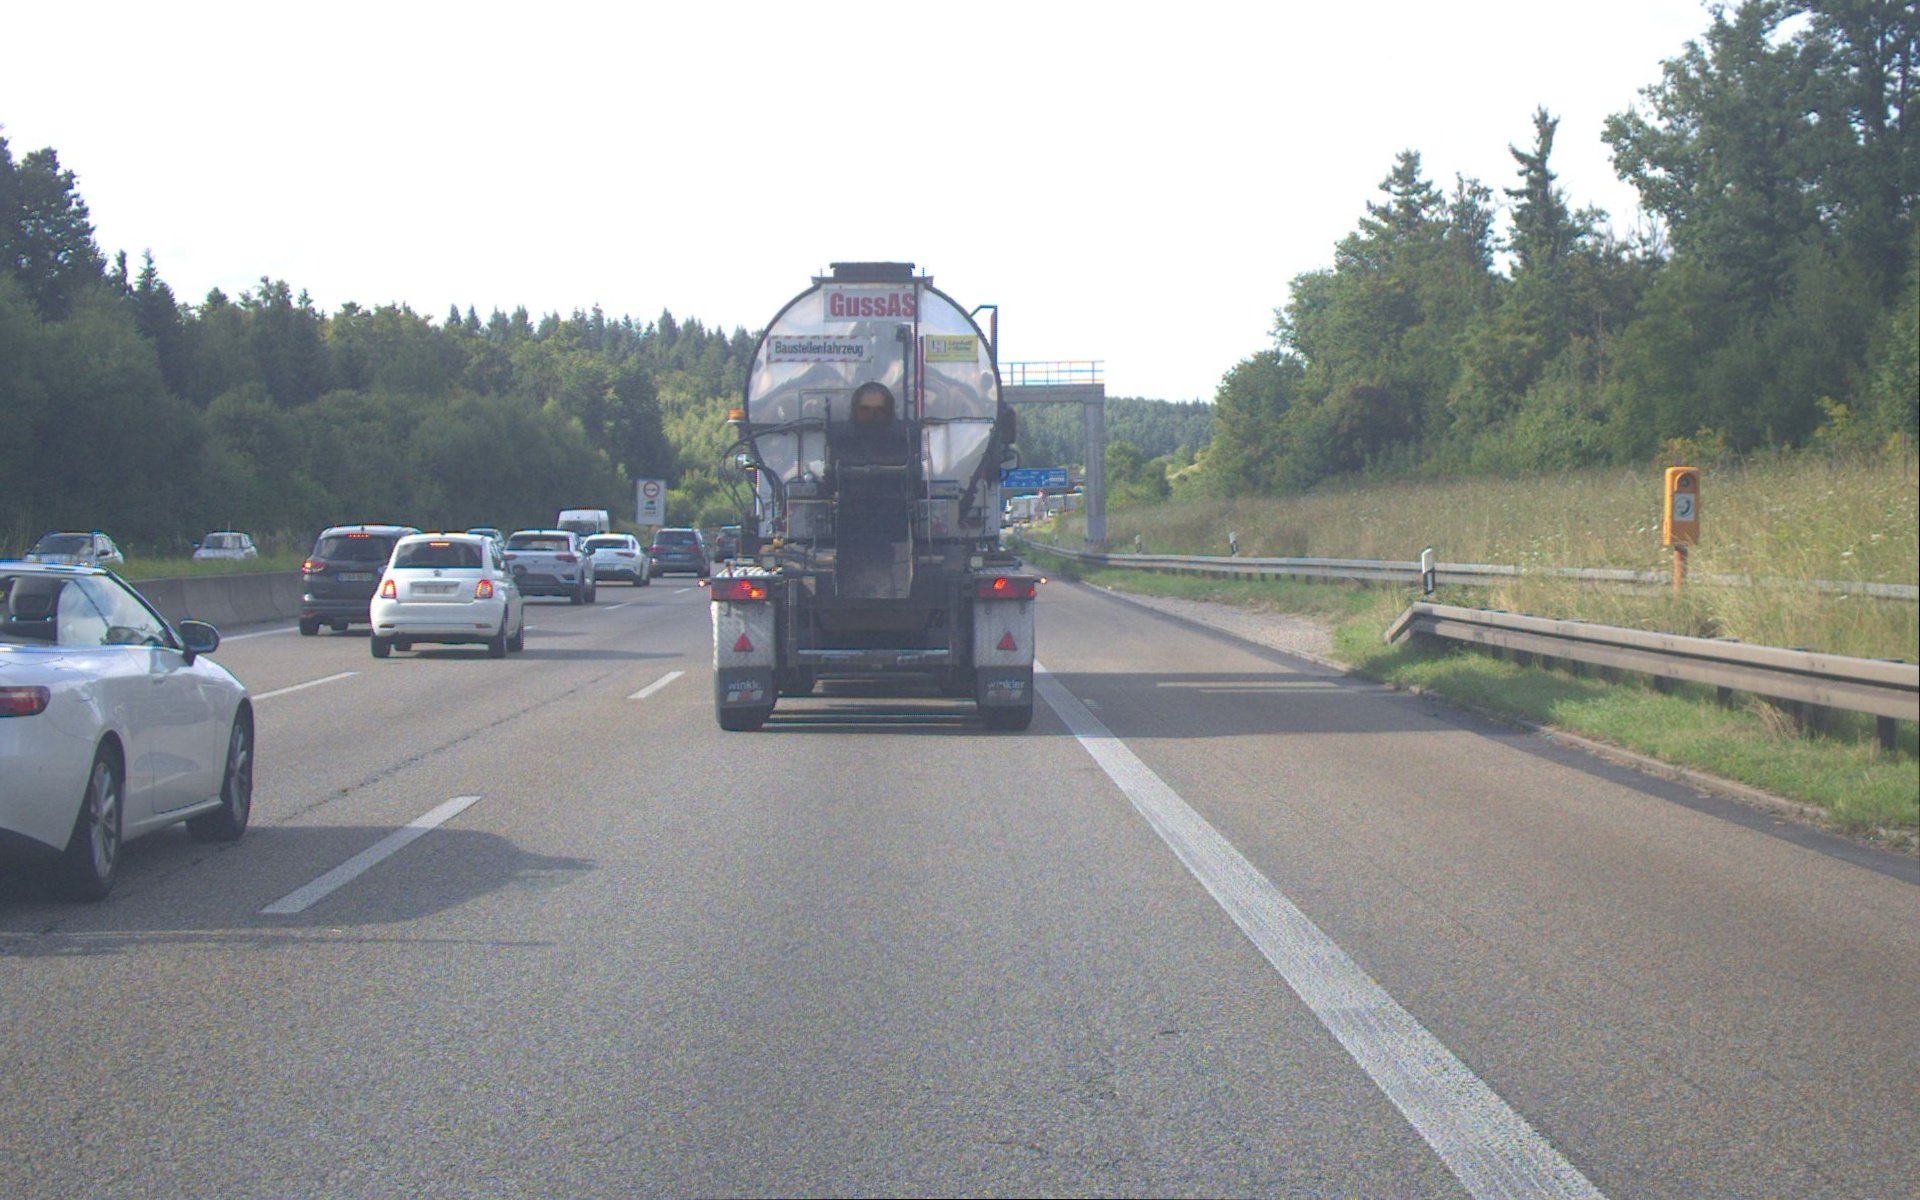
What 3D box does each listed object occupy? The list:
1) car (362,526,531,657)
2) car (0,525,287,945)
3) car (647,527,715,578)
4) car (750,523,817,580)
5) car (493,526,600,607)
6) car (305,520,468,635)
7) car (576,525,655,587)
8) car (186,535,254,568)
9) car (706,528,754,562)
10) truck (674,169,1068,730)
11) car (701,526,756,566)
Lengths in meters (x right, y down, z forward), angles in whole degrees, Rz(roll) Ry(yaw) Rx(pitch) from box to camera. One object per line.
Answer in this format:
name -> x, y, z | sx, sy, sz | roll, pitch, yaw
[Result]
car -> -6.310, -0.132, 42.552 | 1.618, 1.539, 3.520 | 1, 1, -1
car -> -4.466, 0.425, 14.816 | 2.060, 1.494, 5.736 | 0, 1, -1
car -> -9.154, -1.583, 113.009 | 1.942, 1.580, 4.207 | 1, 2, -1
car -> -5.432, -1.517, 106.193 | 1.942, 1.649, 4.207 | 1, 2, -1
car -> -8.596, -0.719, 71.721 | 1.806, 1.580, 4.207 | 1, 2, -1
car -> -8.509, -0.367, 51.317 | 1.806, 1.580, 4.207 | 1, 2, -1
car -> -9.390, -1.214, 93.977 | 1.806, 1.580, 4.207 | 1, 2, -1
car -> -24.446, -1.608, 113.608 | 1.591, 1.090, 3.173 | 0, 1, -1
car -> -10.355, -2.488, 154.904 | 1.942, 1.451, 4.207 | 1, 2, -1
truck -> -0.700, -1.233, 31.071 | 2.912, 4.143, 11.270 | 0, 1, 0
car -> -9.054, -2.132, 134.947 | 1.942, 1.451, 4.207 | 1, 2, -1
